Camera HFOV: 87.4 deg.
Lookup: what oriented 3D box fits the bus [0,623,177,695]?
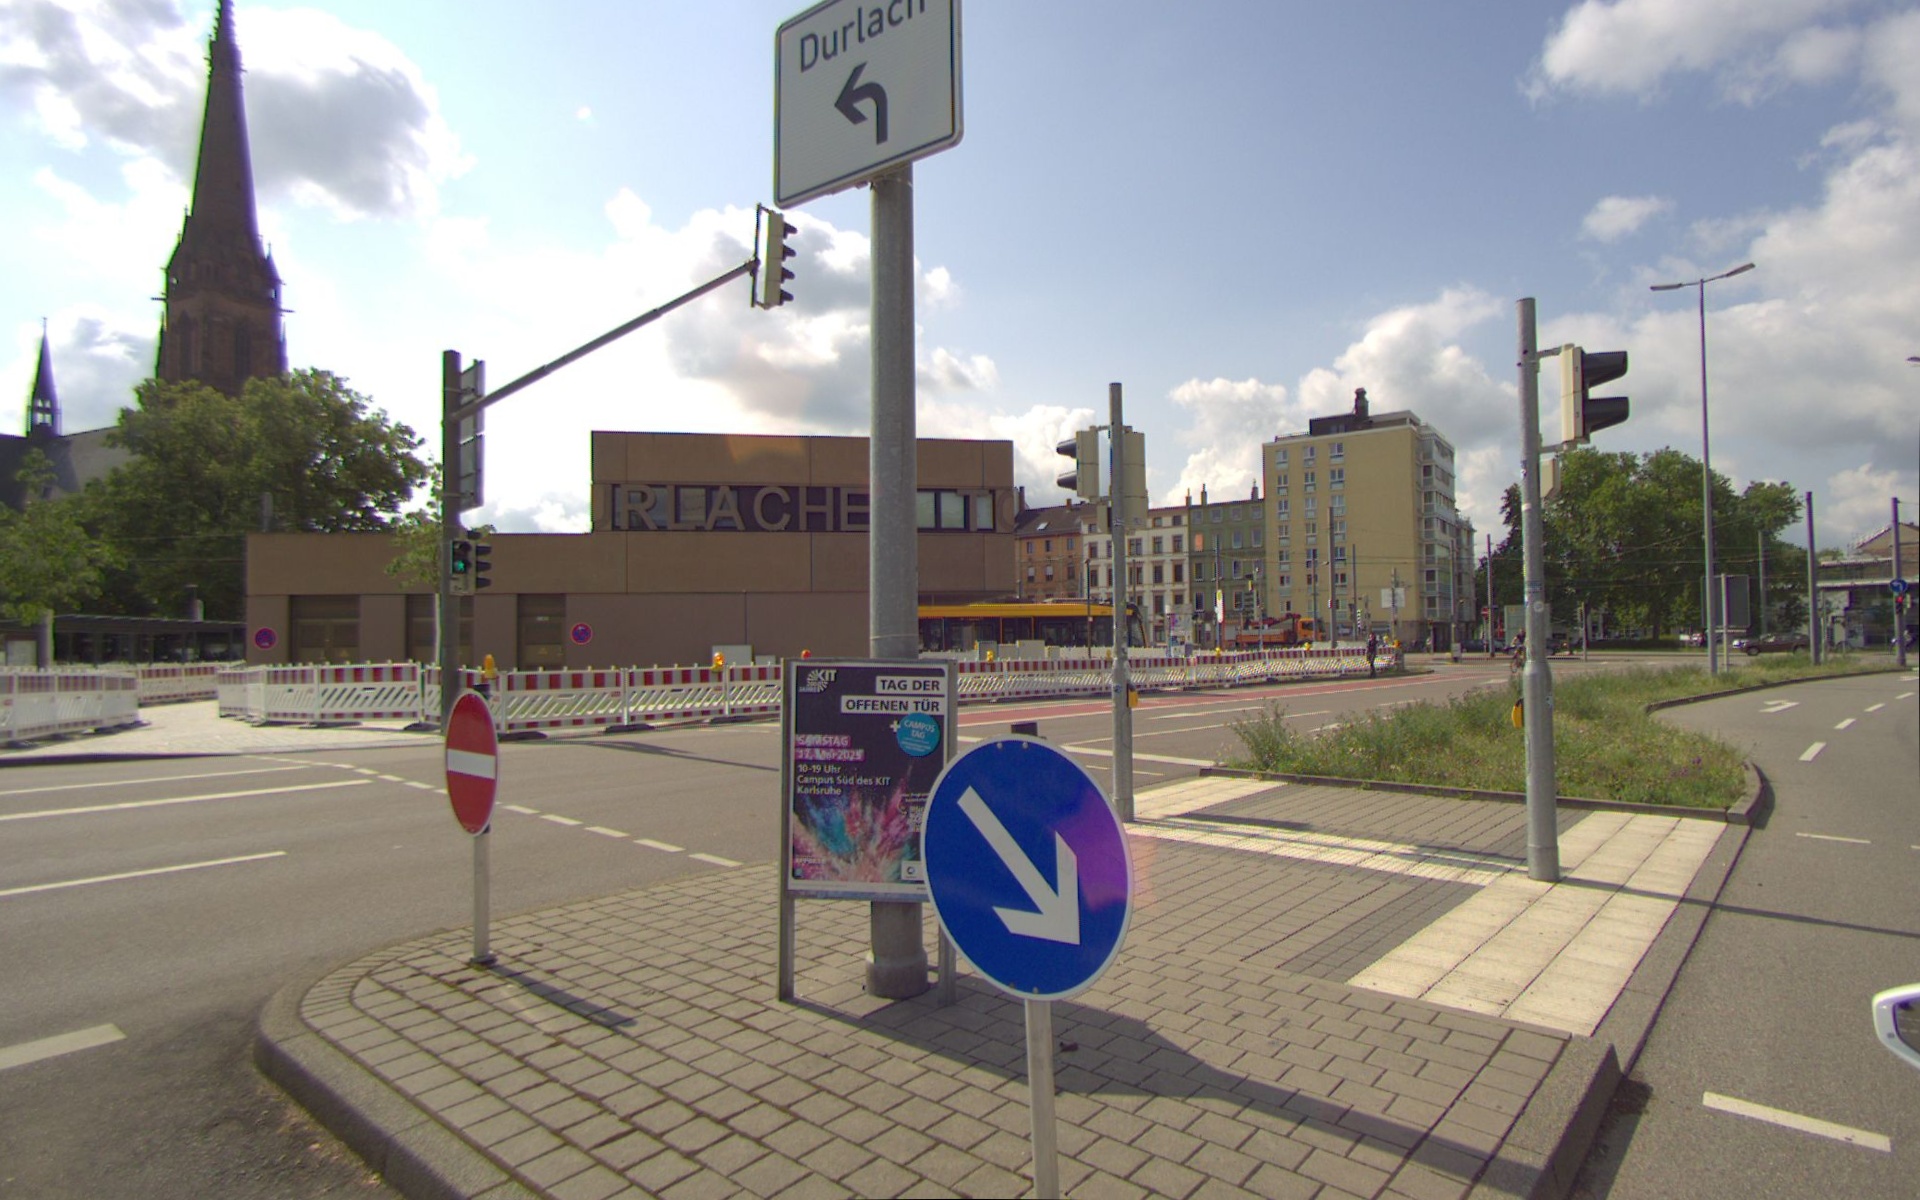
[{"bbox_3d":[-40.686,2.678,45.754,7.624,3.098,2.370,-1,-3,-10],"label":"bus"}]

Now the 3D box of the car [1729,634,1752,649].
[{"bbox_3d":[96.789,5.158,124.561,1.780,1.792,3.975,-3,-3,45],"label":"car"}]

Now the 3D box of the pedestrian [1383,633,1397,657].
[{"bbox_3d":[33.913,3.577,79.211,0.774,1.892,0.645,1,-3,-39],"label":"pedestrian"}]

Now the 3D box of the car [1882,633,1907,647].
[{"bbox_3d":[104.247,4.458,112.070,1.973,1.572,4.054,-2,-3,44],"label":"car"}]

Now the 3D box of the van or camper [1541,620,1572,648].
[{"bbox_3d":[65.751,3.764,110.775,2.543,2.946,6.091,-2,-3,28],"label":"van or camper"}]

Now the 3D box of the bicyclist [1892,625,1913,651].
[{"bbox_3d":[69.018,2.773,73.558,0.873,1.895,0.762,-2,-2,30],"label":"bicyclist"}]

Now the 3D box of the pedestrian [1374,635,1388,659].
[{"bbox_3d":[33.426,3.740,79.826,0.812,1.884,0.693,1,-3,-39],"label":"pedestrian"}]

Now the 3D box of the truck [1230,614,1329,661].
[{"bbox_3d":[27.602,3.282,86.930,7.810,3.906,2.193,-2,-3,35],"label":"truck"}]

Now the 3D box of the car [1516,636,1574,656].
[{"bbox_3d":[47.964,3.748,82.349,4.014,1.528,1.808,0,-2,36],"label":"car"}]

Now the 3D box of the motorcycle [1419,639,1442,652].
[{"bbox_3d":[42.352,4.129,90.395,2.411,1.129,0.776,1,-3,-35],"label":"motorcycle"}]

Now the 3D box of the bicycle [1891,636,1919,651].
[{"bbox_3d":[69.161,3.182,73.451,1.444,1.131,0.586,-2,-3,31],"label":"bicycle"}]

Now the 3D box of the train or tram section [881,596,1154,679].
[{"bbox_3d":[2.590,1.684,45.942,12.191,3.619,2.664,0,-2,-10],"label":"train or tram section"}]

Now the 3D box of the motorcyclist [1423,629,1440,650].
[{"bbox_3d":[42.492,3.554,90.532,1.230,1.805,0.882,1,-3,-35],"label":"motorcyclist"}]

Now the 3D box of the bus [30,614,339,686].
[{"bbox_3d":[-37.644,2.393,49.276,11.859,3.305,2.989,0,-2,-10],"label":"bus"}]

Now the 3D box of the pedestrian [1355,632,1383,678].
[{"bbox_3d":[15.275,2.059,37.516,0.636,1.703,0.729,1,-3,-43],"label":"pedestrian"}]

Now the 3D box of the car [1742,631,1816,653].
[{"bbox_3d":[59.920,3.089,73.586,4.015,1.528,1.808,-2,-3,36],"label":"car"}]

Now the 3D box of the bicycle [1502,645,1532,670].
[{"bbox_3d":[23.461,2.404,42.300,0.610,1.015,2.007,-2,-3,43],"label":"bicycle"}]

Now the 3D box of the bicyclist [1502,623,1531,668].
[{"bbox_3d":[23.459,1.909,42.346,0.802,1.846,1.152,-2,-3,43],"label":"bicyclist"}]
